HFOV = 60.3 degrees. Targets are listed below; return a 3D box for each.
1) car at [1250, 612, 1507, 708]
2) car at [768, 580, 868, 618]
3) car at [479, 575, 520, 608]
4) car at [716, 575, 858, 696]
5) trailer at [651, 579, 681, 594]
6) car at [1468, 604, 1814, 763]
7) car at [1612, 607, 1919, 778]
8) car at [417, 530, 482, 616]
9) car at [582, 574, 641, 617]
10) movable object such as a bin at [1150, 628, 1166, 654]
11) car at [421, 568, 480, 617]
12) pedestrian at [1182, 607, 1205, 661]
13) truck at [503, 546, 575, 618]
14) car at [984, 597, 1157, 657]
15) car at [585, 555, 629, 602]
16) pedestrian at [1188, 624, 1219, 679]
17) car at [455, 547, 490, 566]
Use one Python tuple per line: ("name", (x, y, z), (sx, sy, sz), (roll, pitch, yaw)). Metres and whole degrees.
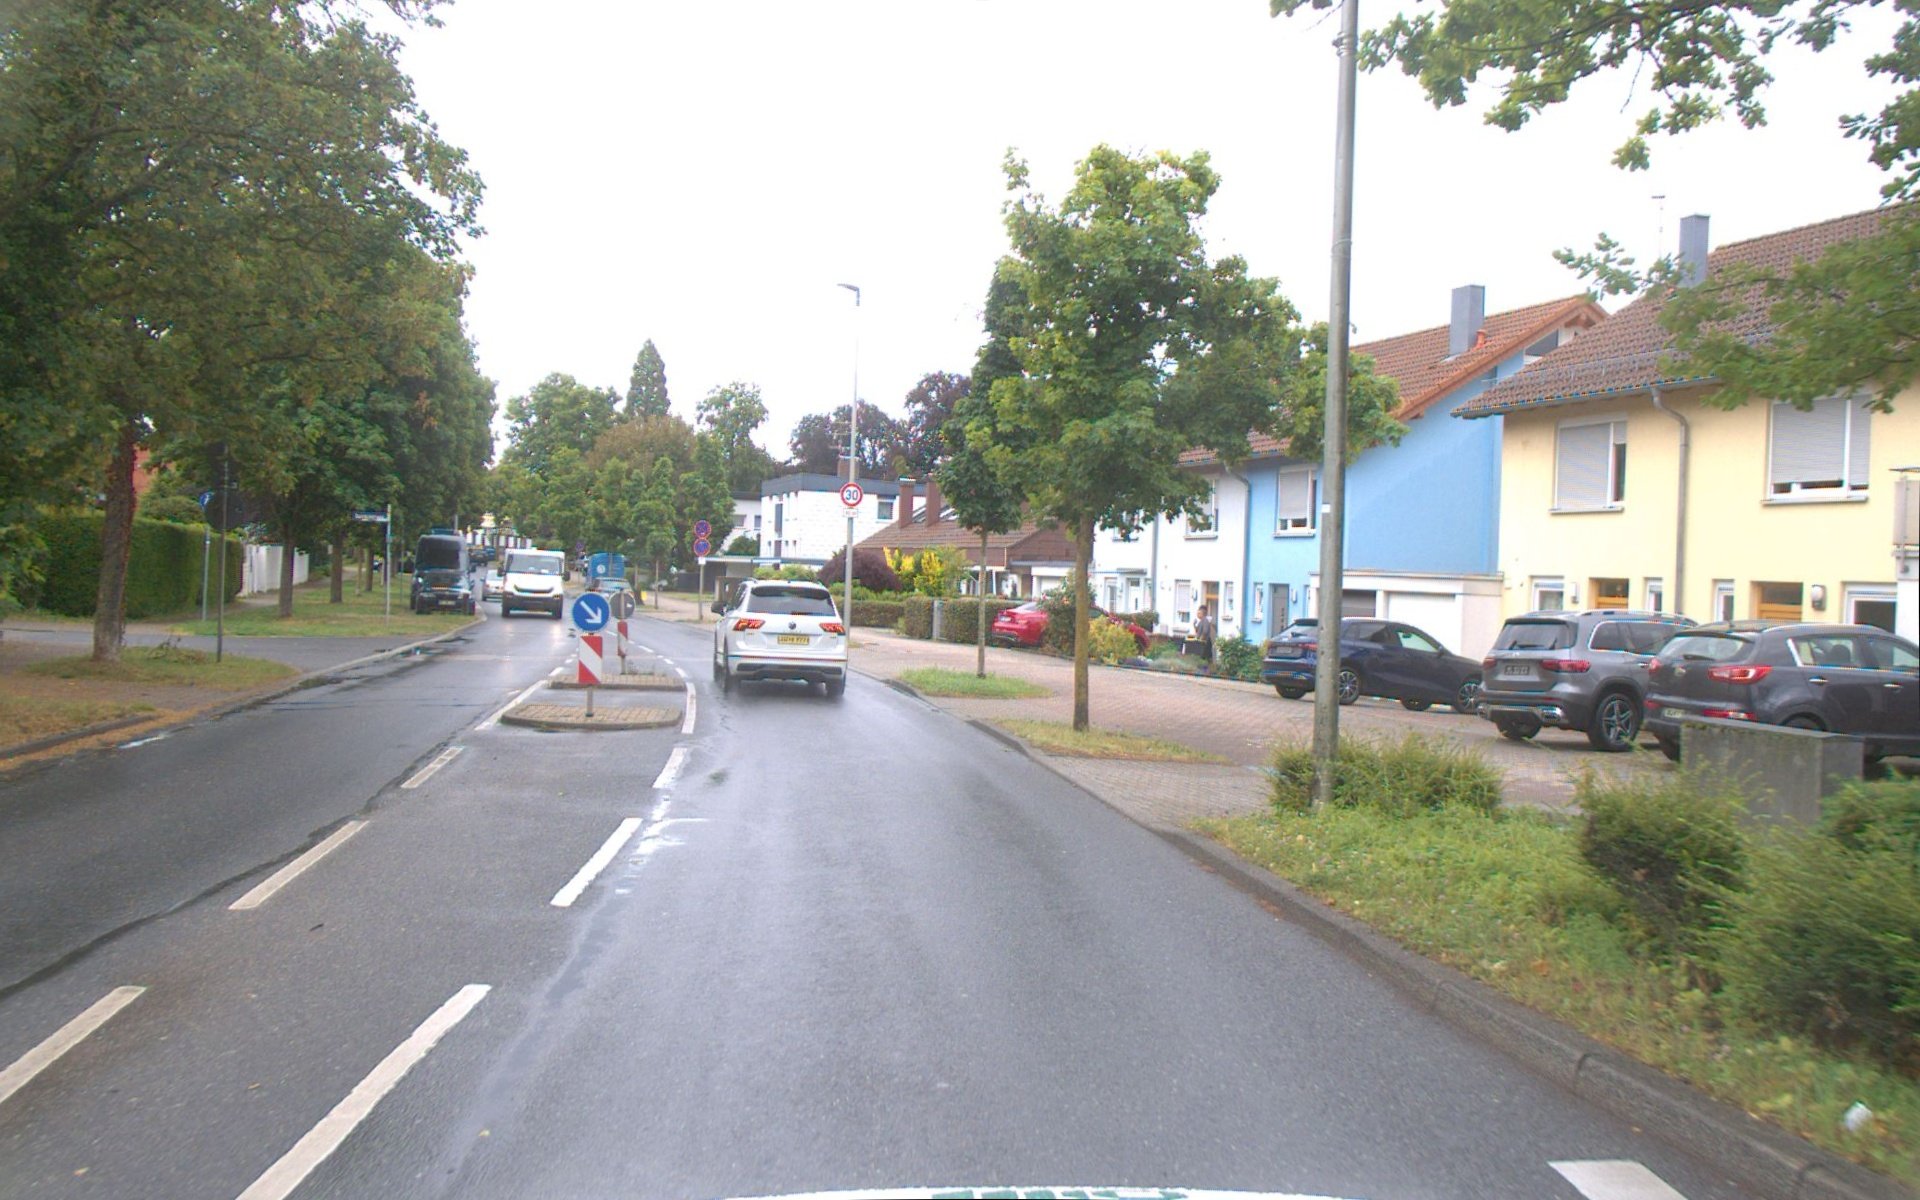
("car", (7.028, 1.001, 27.807), (3.929, 1.411, 1.665), (3, 0, -21))
("car", (-6.114, -0.036, 71.218), (3.927, 1.467, 1.837), (2, 0, -20))
("car", (-22.350, -0.446, 80.220), (1.571, 1.489, 3.432), (2, 0, -20))
("car", (-2.743, 0.499, 25.502), (1.831, 1.679, 3.990), (2, 0, -11))
("trailer", (-21.365, -0.969, 119.990), (2.008, 0.898, 1.359), (4, 0, -15))
("car", (8.751, 1.072, 21.220), (4.127, 1.700, 1.708), (5, -1, -25))
("car", (9.687, 1.023, 18.475), (4.113, 1.701, 1.982), (2, 0, -17))
("car", (-18.213, -0.973, 59.024), (1.962, 2.776, 5.910), (4, 0, -17))
("car", (-13.886, -0.202, 65.798), (1.743, 1.578, 3.977), (2, 0, -20))
("movable object such as a bin", (4.939, 1.028, 41.279), (0.251, 0.637, 0.323), (2, 0, -17))
("car", (-16.182, -0.272, 52.451), (1.696, 1.433, 3.806), (2, 0, -18))
("pedestrian", (6.056, 0.878, 42.917), (0.485, 1.374, 0.565), (2, 0, 5))
("truck", (-14.512, -0.622, 57.275), (2.179, 2.242, 6.442), (3, 0, -13))
("car", (2.894, 0.713, 43.233), (4.254, 1.282, 1.664), (4, 0, -28))
("car", (-20.581, -1.282, 96.281), (1.963, 2.631, 5.605), (0, 1, -18))
("pedestrian", (6.251, 1.324, 42.392), (0.530, 1.374, 0.524), (3, 0, -31))
("car", (-45.907, -4.095, 155.799), (1.633, 1.452, 3.942), (3, 1, -41))
